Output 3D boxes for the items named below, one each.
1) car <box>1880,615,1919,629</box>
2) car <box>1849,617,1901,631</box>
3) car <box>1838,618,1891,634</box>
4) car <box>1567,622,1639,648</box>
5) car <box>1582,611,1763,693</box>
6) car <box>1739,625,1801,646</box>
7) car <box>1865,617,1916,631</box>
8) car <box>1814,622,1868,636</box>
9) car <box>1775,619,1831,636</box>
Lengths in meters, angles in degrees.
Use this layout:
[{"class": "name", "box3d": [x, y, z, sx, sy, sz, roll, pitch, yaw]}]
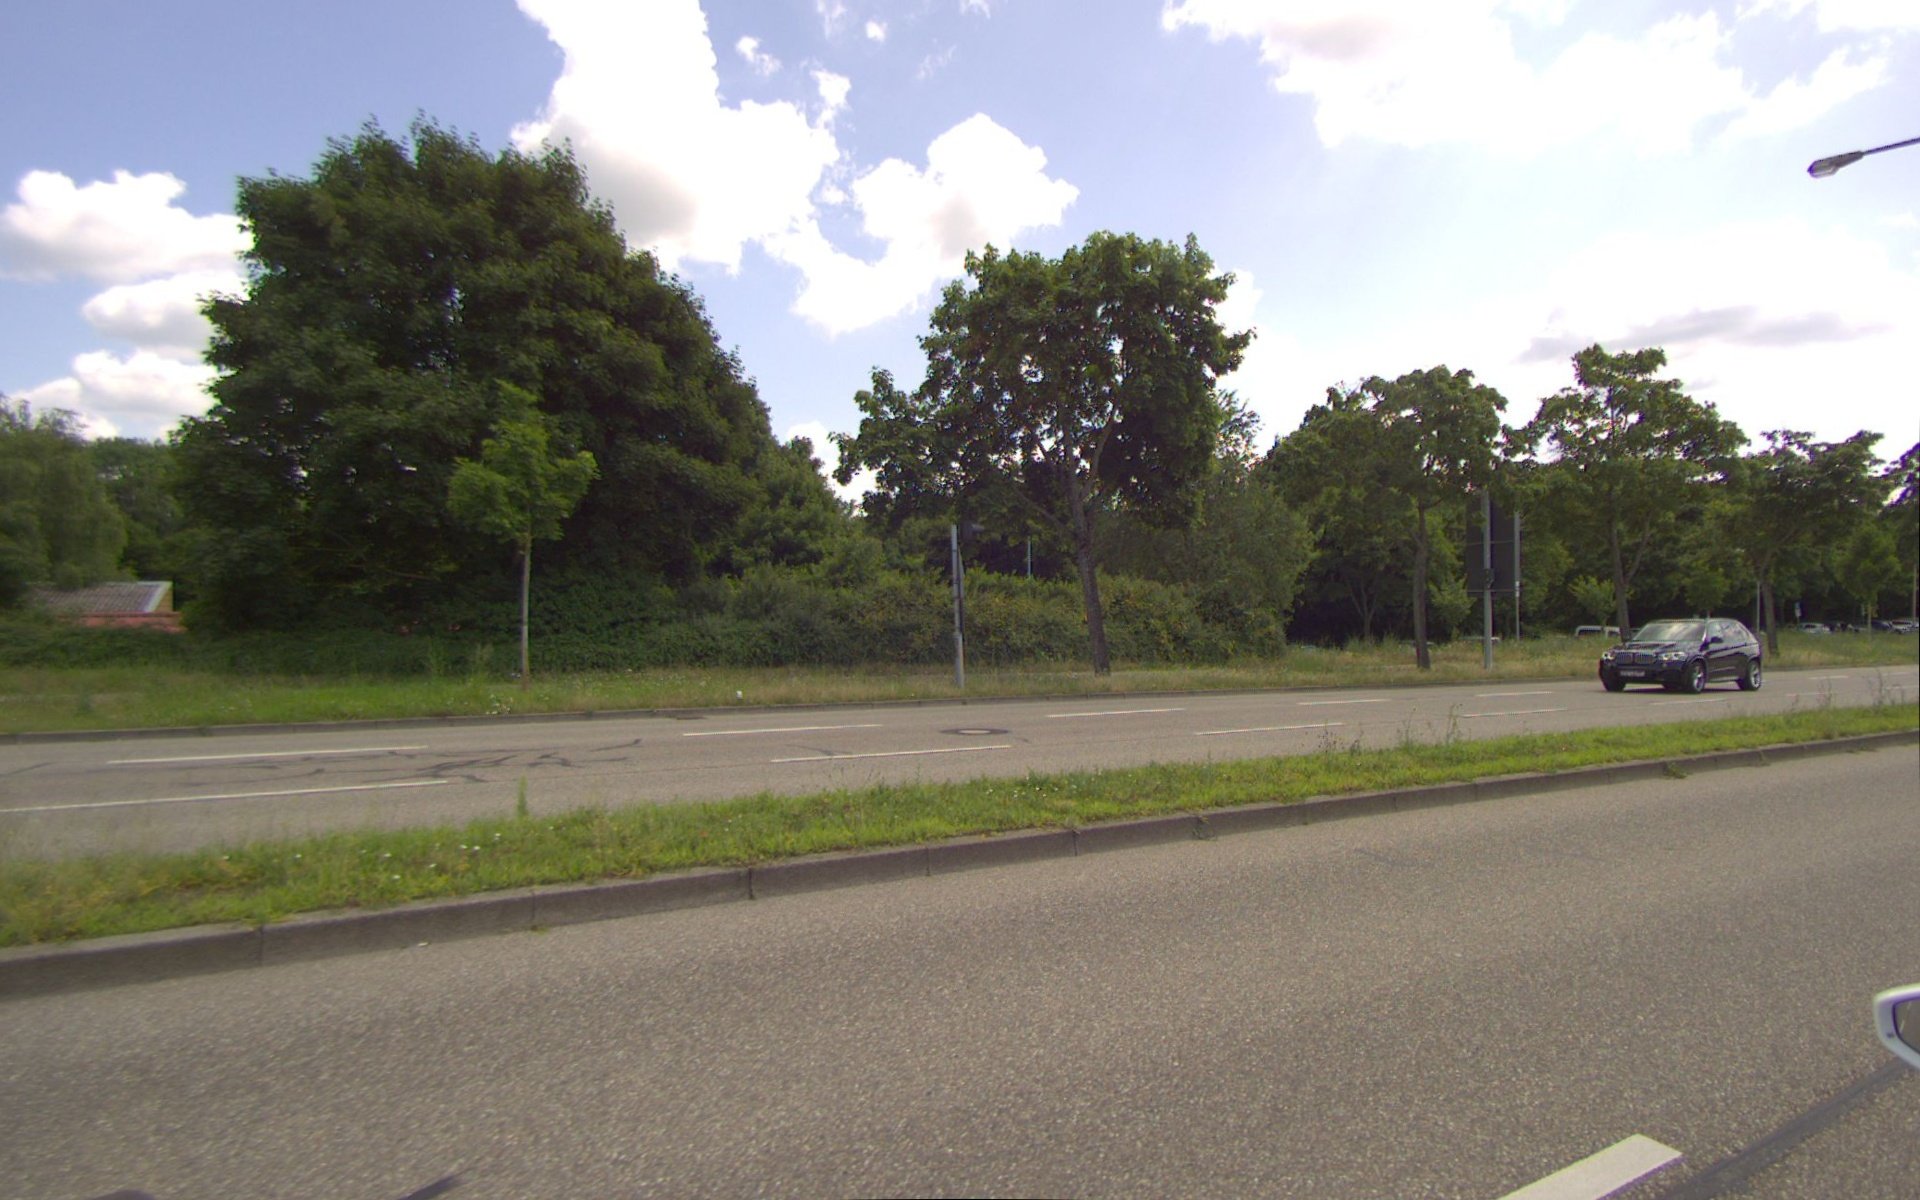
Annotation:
[{"class": "car", "box3d": [108.148, 2.539, 115.010, 1.763, 1.406, 3.769, 0, 1, -28]}, {"class": "car", "box3d": [99.089, 2.613, 108.839, 1.763, 1.406, 3.769, 0, 1, -28]}, {"class": "car", "box3d": [95.665, 2.715, 106.279, 1.763, 1.589, 3.769, 0, 1, -28]}, {"class": "car", "box3d": [46.487, 2.532, 72.707, 1.979, 1.647, 3.962, -1, 1, -34]}, {"class": "car", "box3d": [17.173, 1.229, 24.146, 4.676, 1.813, 1.867, 1, -3, -32]}, {"class": "car", "box3d": [69.507, 3.031, 86.212, 1.765, 1.528, 3.766, 0, 1, -31]}, {"class": "car", "box3d": [103.215, 2.654, 111.488, 1.763, 1.406, 3.769, 0, 1, -28]}, {"class": "car", "box3d": [89.489, 2.928, 102.048, 1.766, 1.264, 3.763, -1, 1, -32]}, {"class": "car", "box3d": [80.966, 2.608, 96.472, 1.766, 1.447, 3.763, -1, 1, -32]}]
